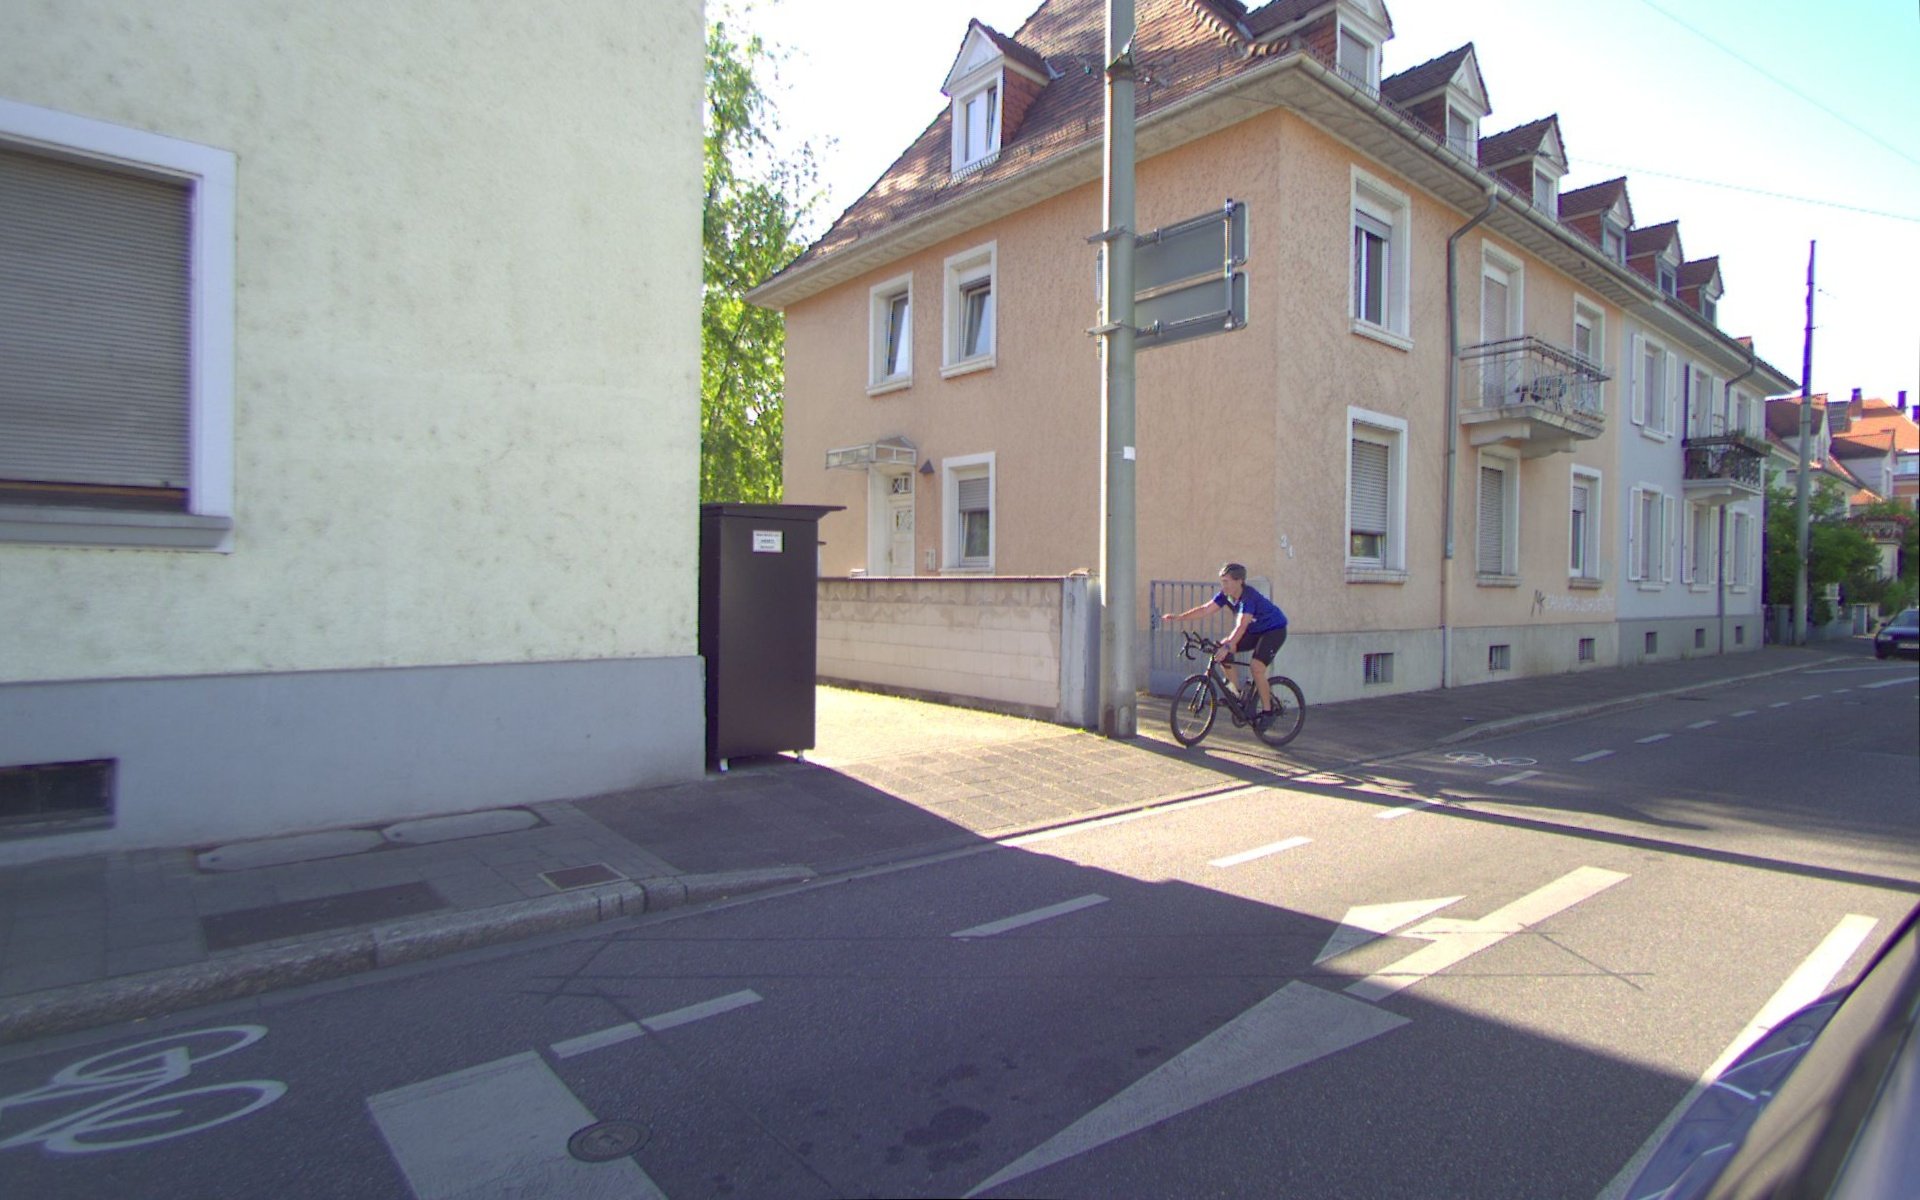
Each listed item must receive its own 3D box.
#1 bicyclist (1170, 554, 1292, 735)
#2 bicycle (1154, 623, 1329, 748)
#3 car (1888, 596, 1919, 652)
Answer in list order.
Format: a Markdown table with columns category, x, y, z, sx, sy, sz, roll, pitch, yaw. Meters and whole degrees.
| category | x | y | z | sx | sy | sz | roll | pitch | yaw |
| --- | --- | --- | --- | --- | --- | --- | --- | --- | --- |
| bicyclist | 2.582 | 0.398 | 9.643 | 0.996 | 1.637 | 0.563 | 0 | 1 | -30 |
| bicycle | 2.729 | 0.783 | 9.739 | 1.759 | 1.076 | 0.551 | 0 | 1 | -31 |
| car | 26.711 | 0.623 | 27.397 | 4.347 | 1.425 | 1.866 | 0 | 1 | -41 |
